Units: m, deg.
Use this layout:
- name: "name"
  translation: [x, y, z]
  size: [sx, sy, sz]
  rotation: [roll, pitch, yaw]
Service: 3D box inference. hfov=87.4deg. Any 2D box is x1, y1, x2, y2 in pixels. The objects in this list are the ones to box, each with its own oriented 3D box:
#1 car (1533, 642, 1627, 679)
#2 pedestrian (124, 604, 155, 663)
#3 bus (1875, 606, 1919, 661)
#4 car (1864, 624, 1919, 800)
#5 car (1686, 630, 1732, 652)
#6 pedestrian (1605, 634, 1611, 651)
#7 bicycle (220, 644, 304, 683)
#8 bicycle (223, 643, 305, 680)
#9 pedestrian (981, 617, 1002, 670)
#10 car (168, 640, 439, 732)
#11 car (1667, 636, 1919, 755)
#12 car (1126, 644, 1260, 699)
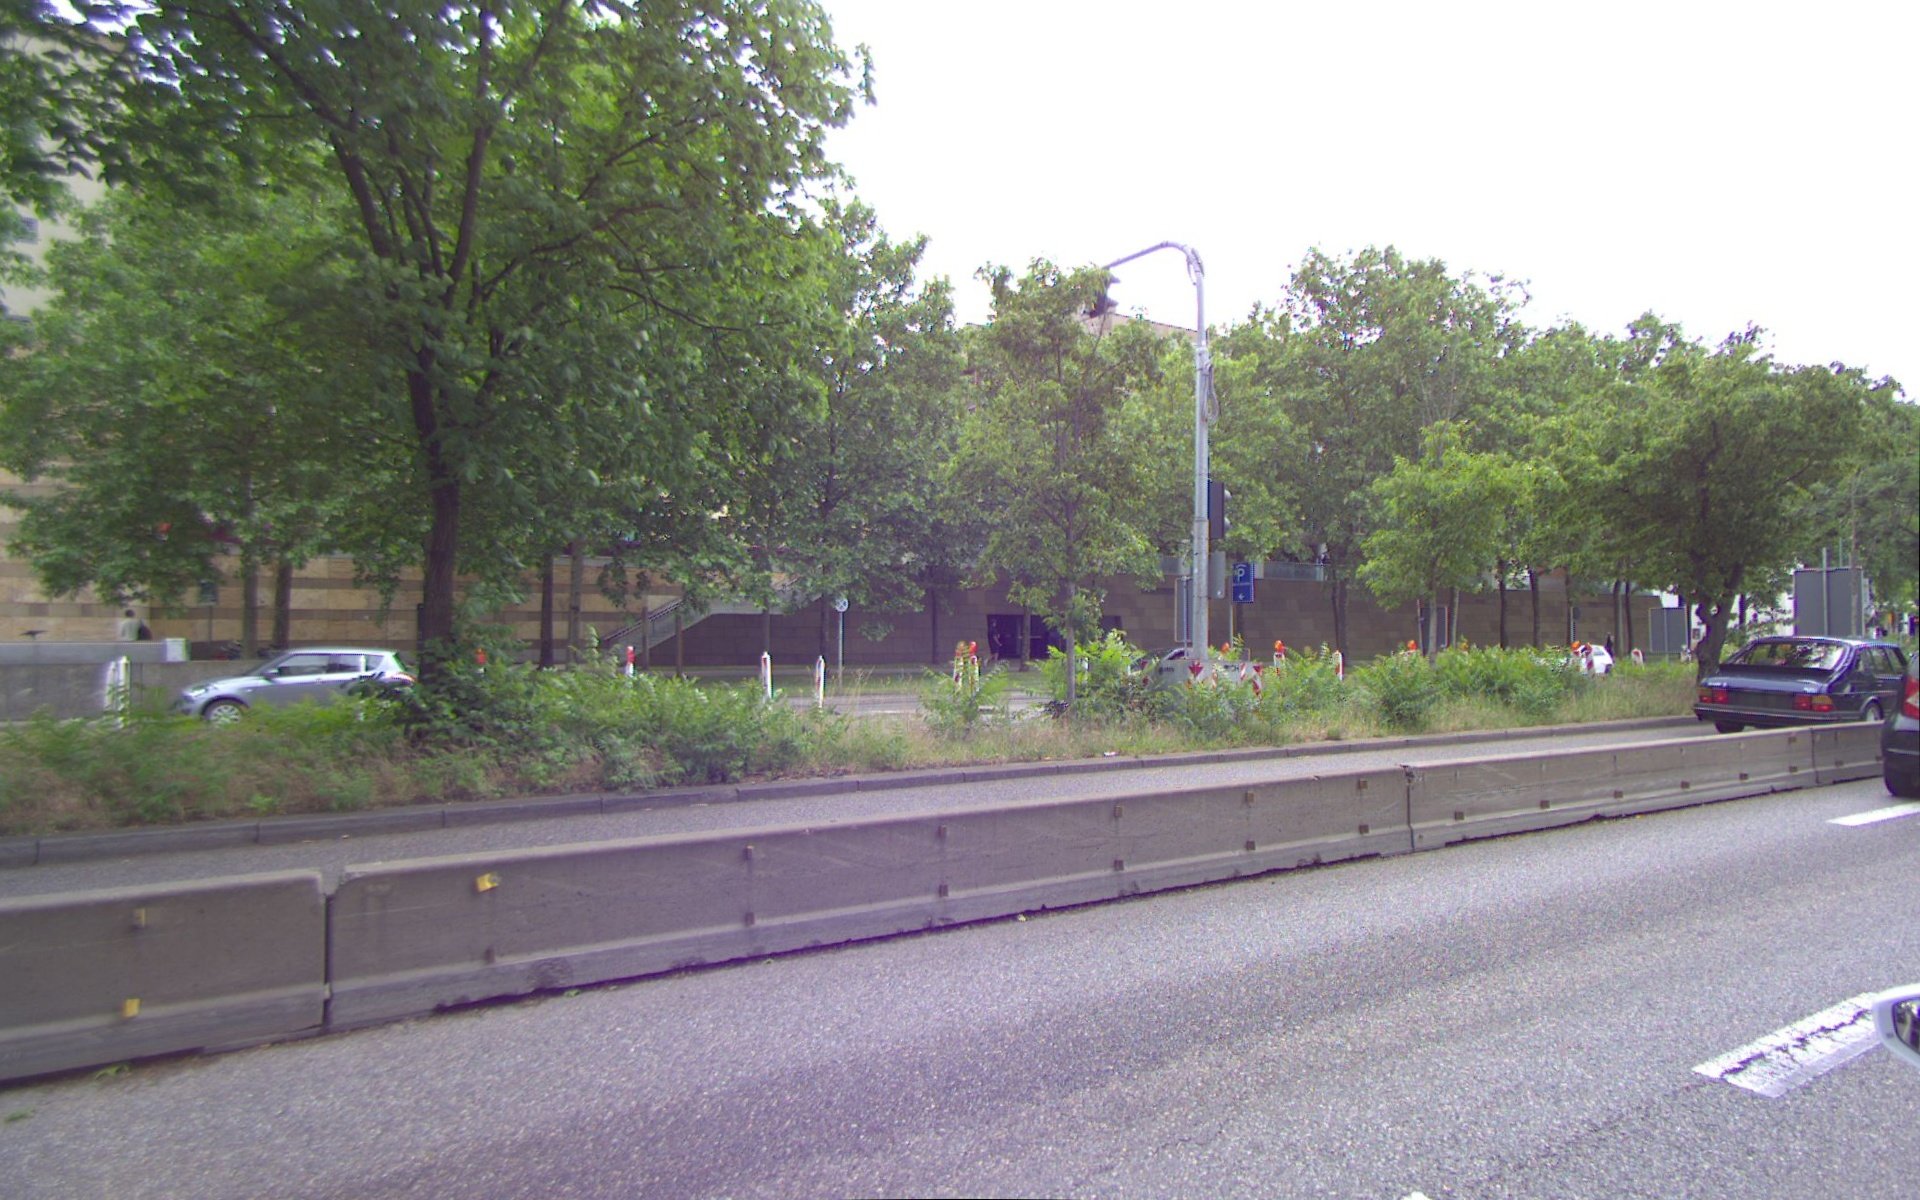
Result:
- name: "car"
  translation: [24.796, 2.383, 40.163]
  size: [3.759, 1.401, 1.652]
  rotation: [1, -2, -31]
- name: "pedestrian"
  translation: [-22.640, 0.921, 27.717]
  size: [0.616, 1.590, 0.434]
  rotation: [1, -1, -38]
- name: "bus"
  translation: [62.457, 2.100, 62.502]
  size: [14.094, 3.247, 3.653]
  rotation: [1, -2, -28]
- name: "car"
  translation: [9.896, 0.979, 9.033]
  size: [3.579, 1.492, 1.601]
  rotation: [1, -2, -30]
- name: "car"
  translation: [67.322, 3.648, 90.272]
  size: [3.953, 1.940, 1.984]
  rotation: [1, -2, -30]
- name: "pedestrian"
  translation: [41.156, 2.693, 63.782]
  size: [0.212, 1.093, 0.257]
  rotation: [2, 0, 43]
- name: "bicycle"
  translation: [-19.243, 1.753, 27.733]
  size: [1.820, 1.008, 0.487]
  rotation: [2, 0, -25]
- name: "bicycle"
  translation: [-19.627, 1.742, 28.362]
  size: [1.820, 1.004, 0.564]
  rotation: [2, 0, -25]
- name: "pedestrian"
  translation: [1.205, 1.677, 38.688]
  size: [0.657, 2.040, 0.449]
  rotation: [1, -1, -30]
- name: "car"
  translation: [-11.801, 1.486, 18.370]
  size: [3.953, 1.477, 1.840]
  rotation: [1, -2, -30]
- name: "car"
  translation: [11.706, 1.192, 13.723]
  size: [4.490, 1.385, 1.670]
  rotation: [1, -2, -31]
- name: "car"
  translation: [6.858, 2.059, 29.505]
  size: [3.755, 1.461, 1.721]
  rotation: [1, -2, -32]
